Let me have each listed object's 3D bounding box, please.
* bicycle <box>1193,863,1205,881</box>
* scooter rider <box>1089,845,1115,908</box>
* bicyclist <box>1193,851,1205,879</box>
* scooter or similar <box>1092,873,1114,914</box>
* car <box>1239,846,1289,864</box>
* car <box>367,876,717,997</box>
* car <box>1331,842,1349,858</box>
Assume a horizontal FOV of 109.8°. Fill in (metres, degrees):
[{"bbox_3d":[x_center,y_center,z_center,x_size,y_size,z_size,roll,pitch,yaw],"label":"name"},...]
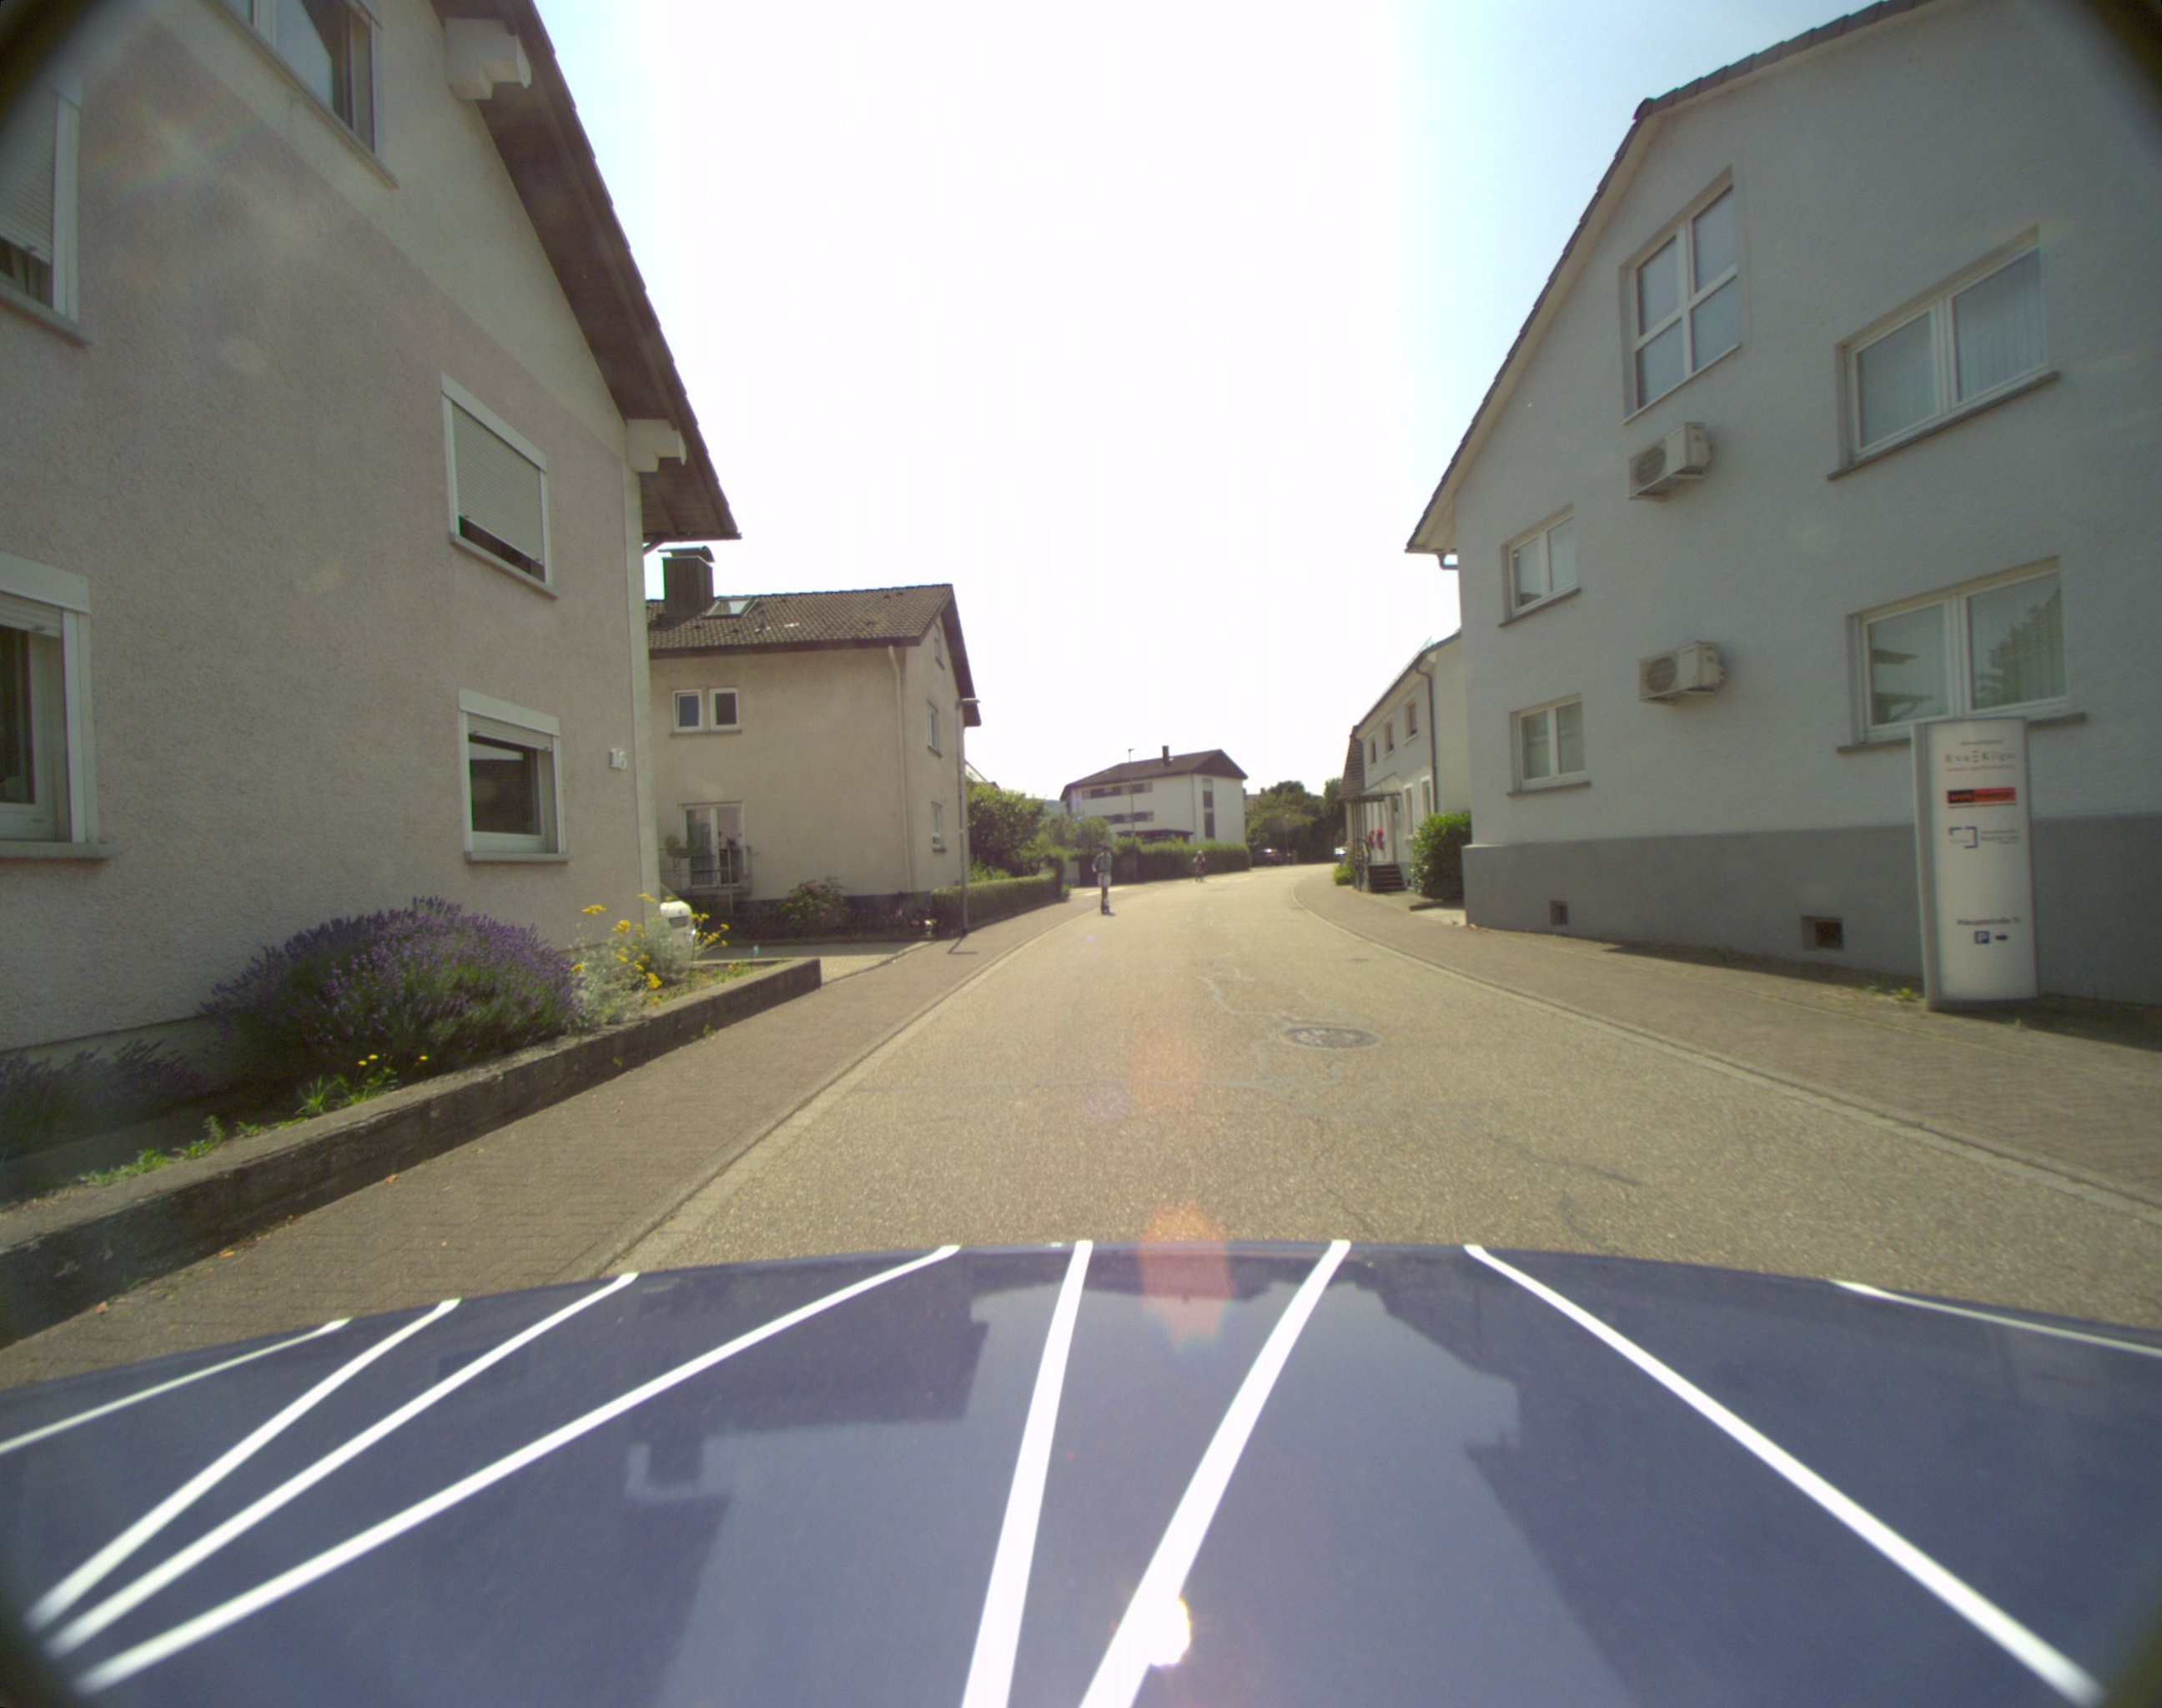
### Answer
[{"bbox_3d":[6.499,0.979,41.798,0.521,0.898,1.314,-2,0,14],"label":"bicycle"},{"bbox_3d":[0.589,0.633,21.319,0.617,1.714,0.640,-2,1,-2],"label":"scooter rider"},{"bbox_3d":[6.511,0.593,41.904,0.546,1.481,0.797,-2,1,14],"label":"bicyclist"},{"bbox_3d":[0.611,1.097,21.327,0.542,1.083,0.691,-3,0,-1],"label":"scooter or similar"},{"bbox_3d":[17.866,0.109,74.375,4.281,1.662,2.069,-1,1,32],"label":"car"},{"bbox_3d":[-7.566,1.120,10.984,3.758,1.452,1.680,-2,0,-4],"label":"car"},{"bbox_3d":[31.364,-0.488,91.918,1.778,1.830,3.907,-1,0,24],"label":"car"}]
